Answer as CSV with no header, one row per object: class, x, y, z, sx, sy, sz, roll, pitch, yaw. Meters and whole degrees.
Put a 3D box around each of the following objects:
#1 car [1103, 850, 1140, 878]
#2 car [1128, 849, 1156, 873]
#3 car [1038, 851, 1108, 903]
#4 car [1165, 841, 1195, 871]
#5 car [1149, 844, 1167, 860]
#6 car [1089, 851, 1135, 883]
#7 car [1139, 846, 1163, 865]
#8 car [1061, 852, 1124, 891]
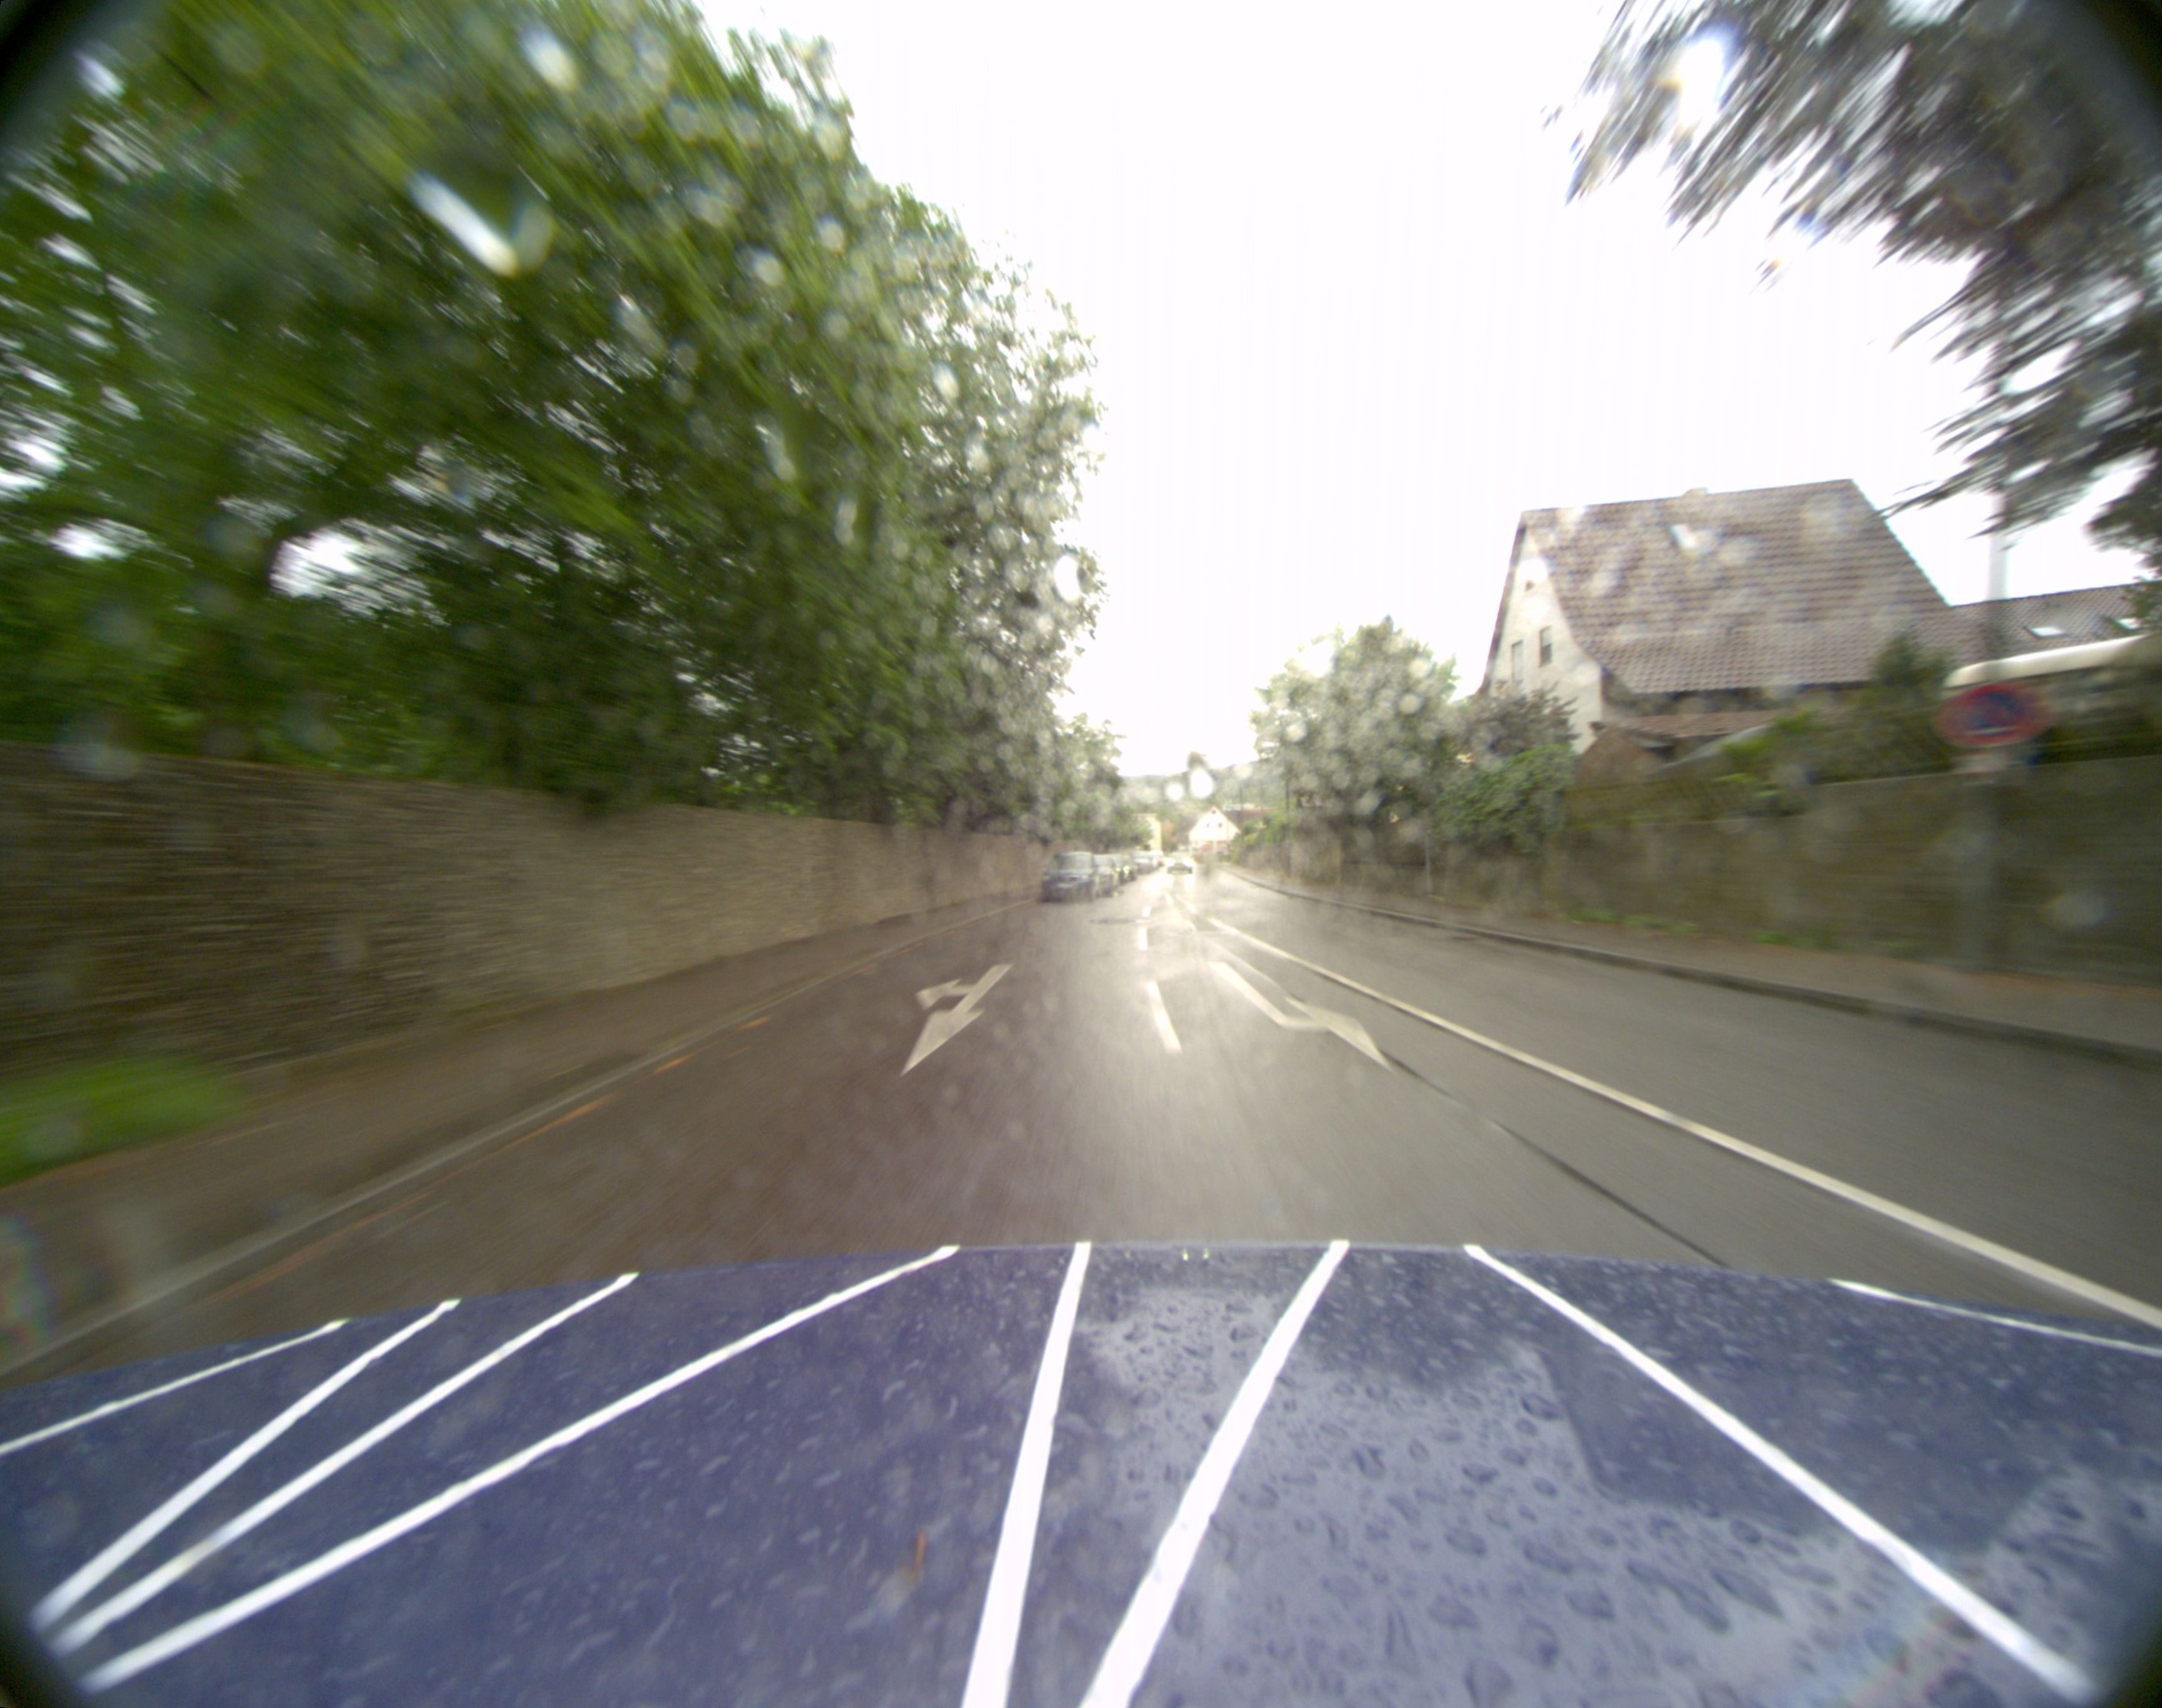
car,2.271,0.517,41.537,1.763,1.411,4.155,-1,1,6
car,4.455,0.455,55.190,1.832,1.620,4.155,-1,1,7
car,-0.178,0.687,24.917,1.793,1.524,3.802,-1,1,7
car,7.182,0.097,55.358,1.997,2.002,4.001,-2,2,7
car,9.131,-0.210,89.575,1.947,1.783,4.188,-1,1,8
car,1.526,0.580,36.247,1.763,1.411,4.155,-1,1,8
car,6.240,0.071,67.805,1.832,1.620,4.156,-1,1,9
car,0.547,0.649,30.556,1.997,1.411,4.486,-1,0,7
